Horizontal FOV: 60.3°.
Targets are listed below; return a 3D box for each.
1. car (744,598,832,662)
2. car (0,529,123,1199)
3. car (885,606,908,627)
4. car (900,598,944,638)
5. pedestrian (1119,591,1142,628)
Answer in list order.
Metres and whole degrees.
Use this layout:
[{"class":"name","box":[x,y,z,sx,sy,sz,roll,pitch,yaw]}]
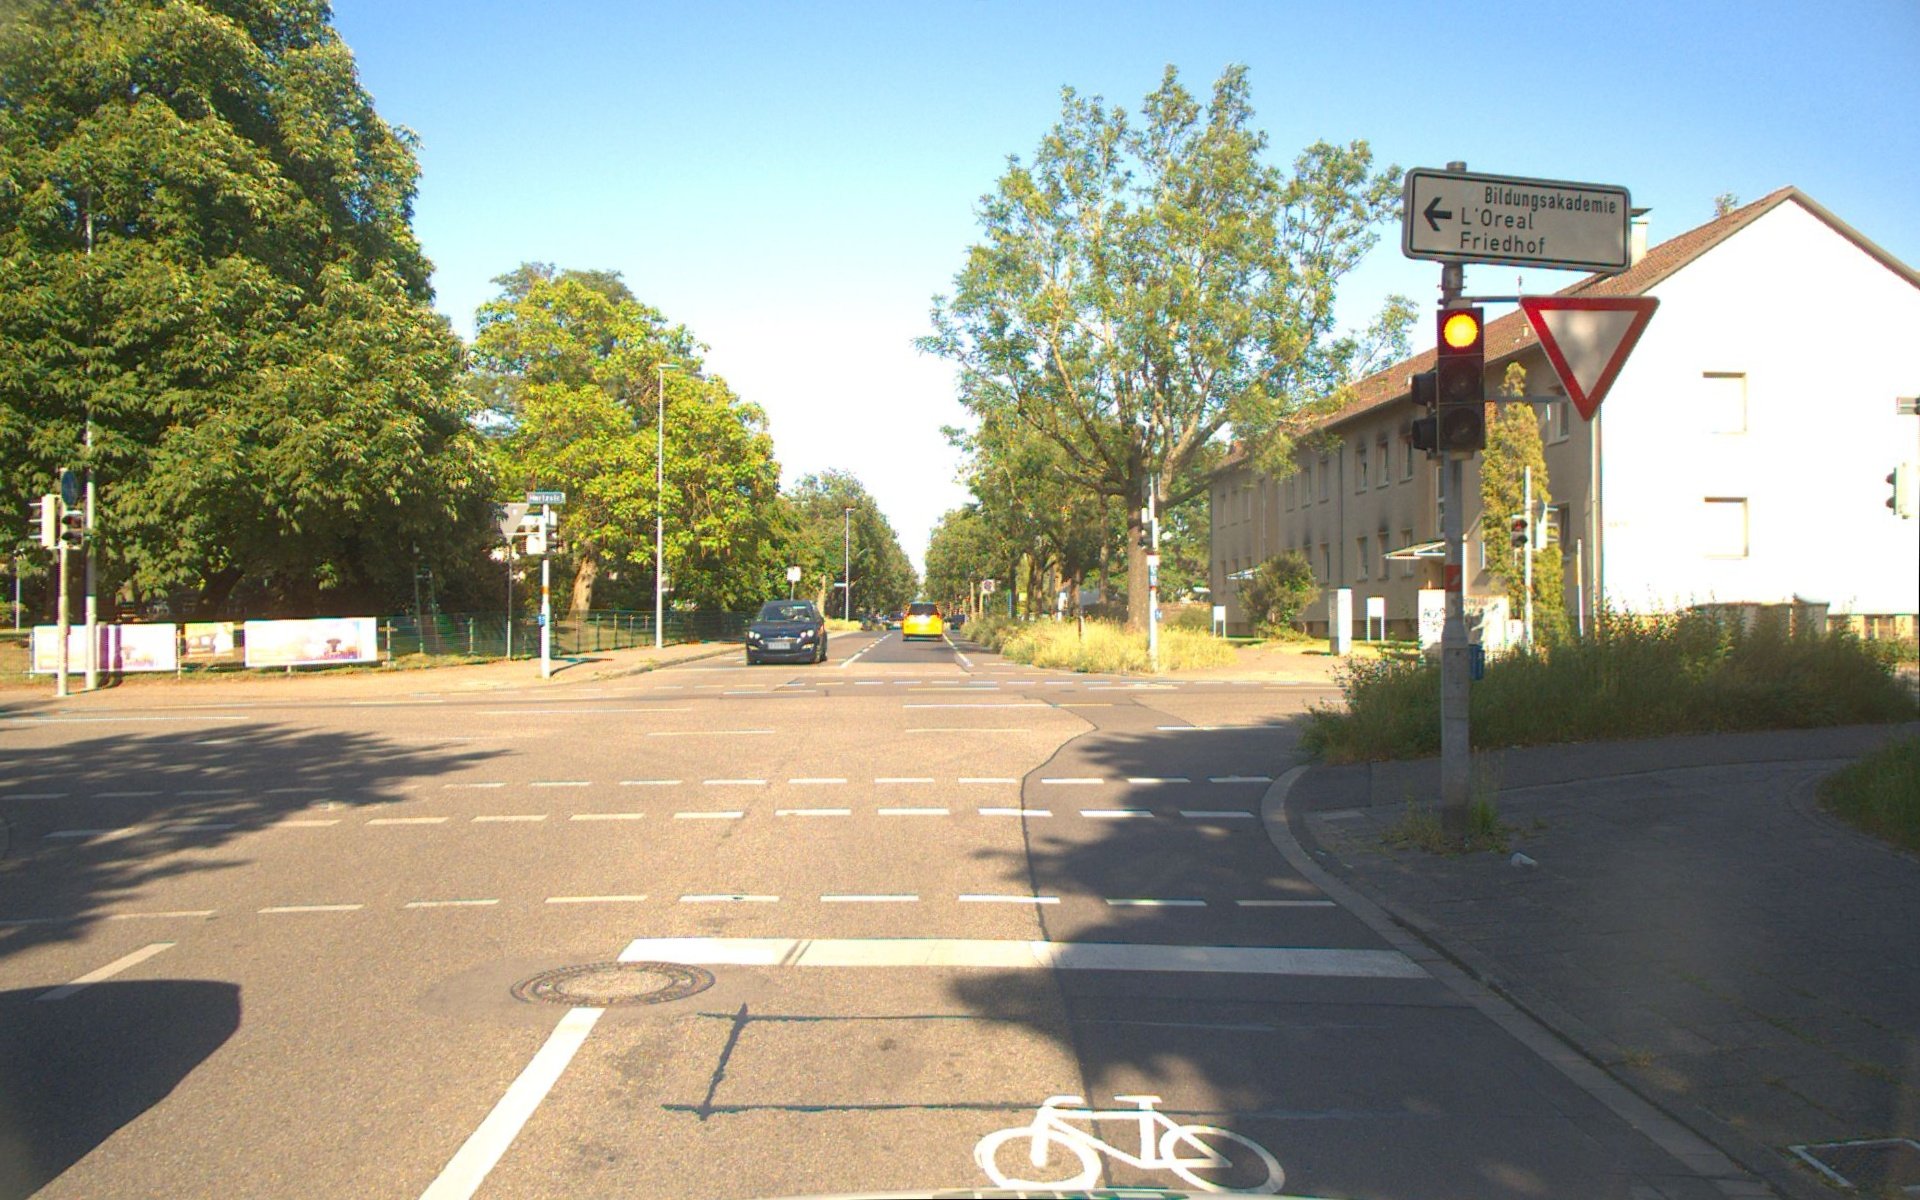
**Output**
[{"class":"car","box":[-3.962,0.661,38.541,1.676,1.410,3.471,0,0,0]},{"class":"car","box":[-3.093,0.714,2.254,1.716,1.590,4.120,-4,1,0]},{"class":"car","box":[-5.078,1.289,132.264,1.722,1.653,3.268,0,0,0]},{"class":"car","box":[-1.543,0.737,68.327,1.716,1.610,3.999,1,0,-1]},{"class":"pedestrian","box":[7.152,0.403,69.432,0.825,1.519,0.924,2,0,-1]}]
